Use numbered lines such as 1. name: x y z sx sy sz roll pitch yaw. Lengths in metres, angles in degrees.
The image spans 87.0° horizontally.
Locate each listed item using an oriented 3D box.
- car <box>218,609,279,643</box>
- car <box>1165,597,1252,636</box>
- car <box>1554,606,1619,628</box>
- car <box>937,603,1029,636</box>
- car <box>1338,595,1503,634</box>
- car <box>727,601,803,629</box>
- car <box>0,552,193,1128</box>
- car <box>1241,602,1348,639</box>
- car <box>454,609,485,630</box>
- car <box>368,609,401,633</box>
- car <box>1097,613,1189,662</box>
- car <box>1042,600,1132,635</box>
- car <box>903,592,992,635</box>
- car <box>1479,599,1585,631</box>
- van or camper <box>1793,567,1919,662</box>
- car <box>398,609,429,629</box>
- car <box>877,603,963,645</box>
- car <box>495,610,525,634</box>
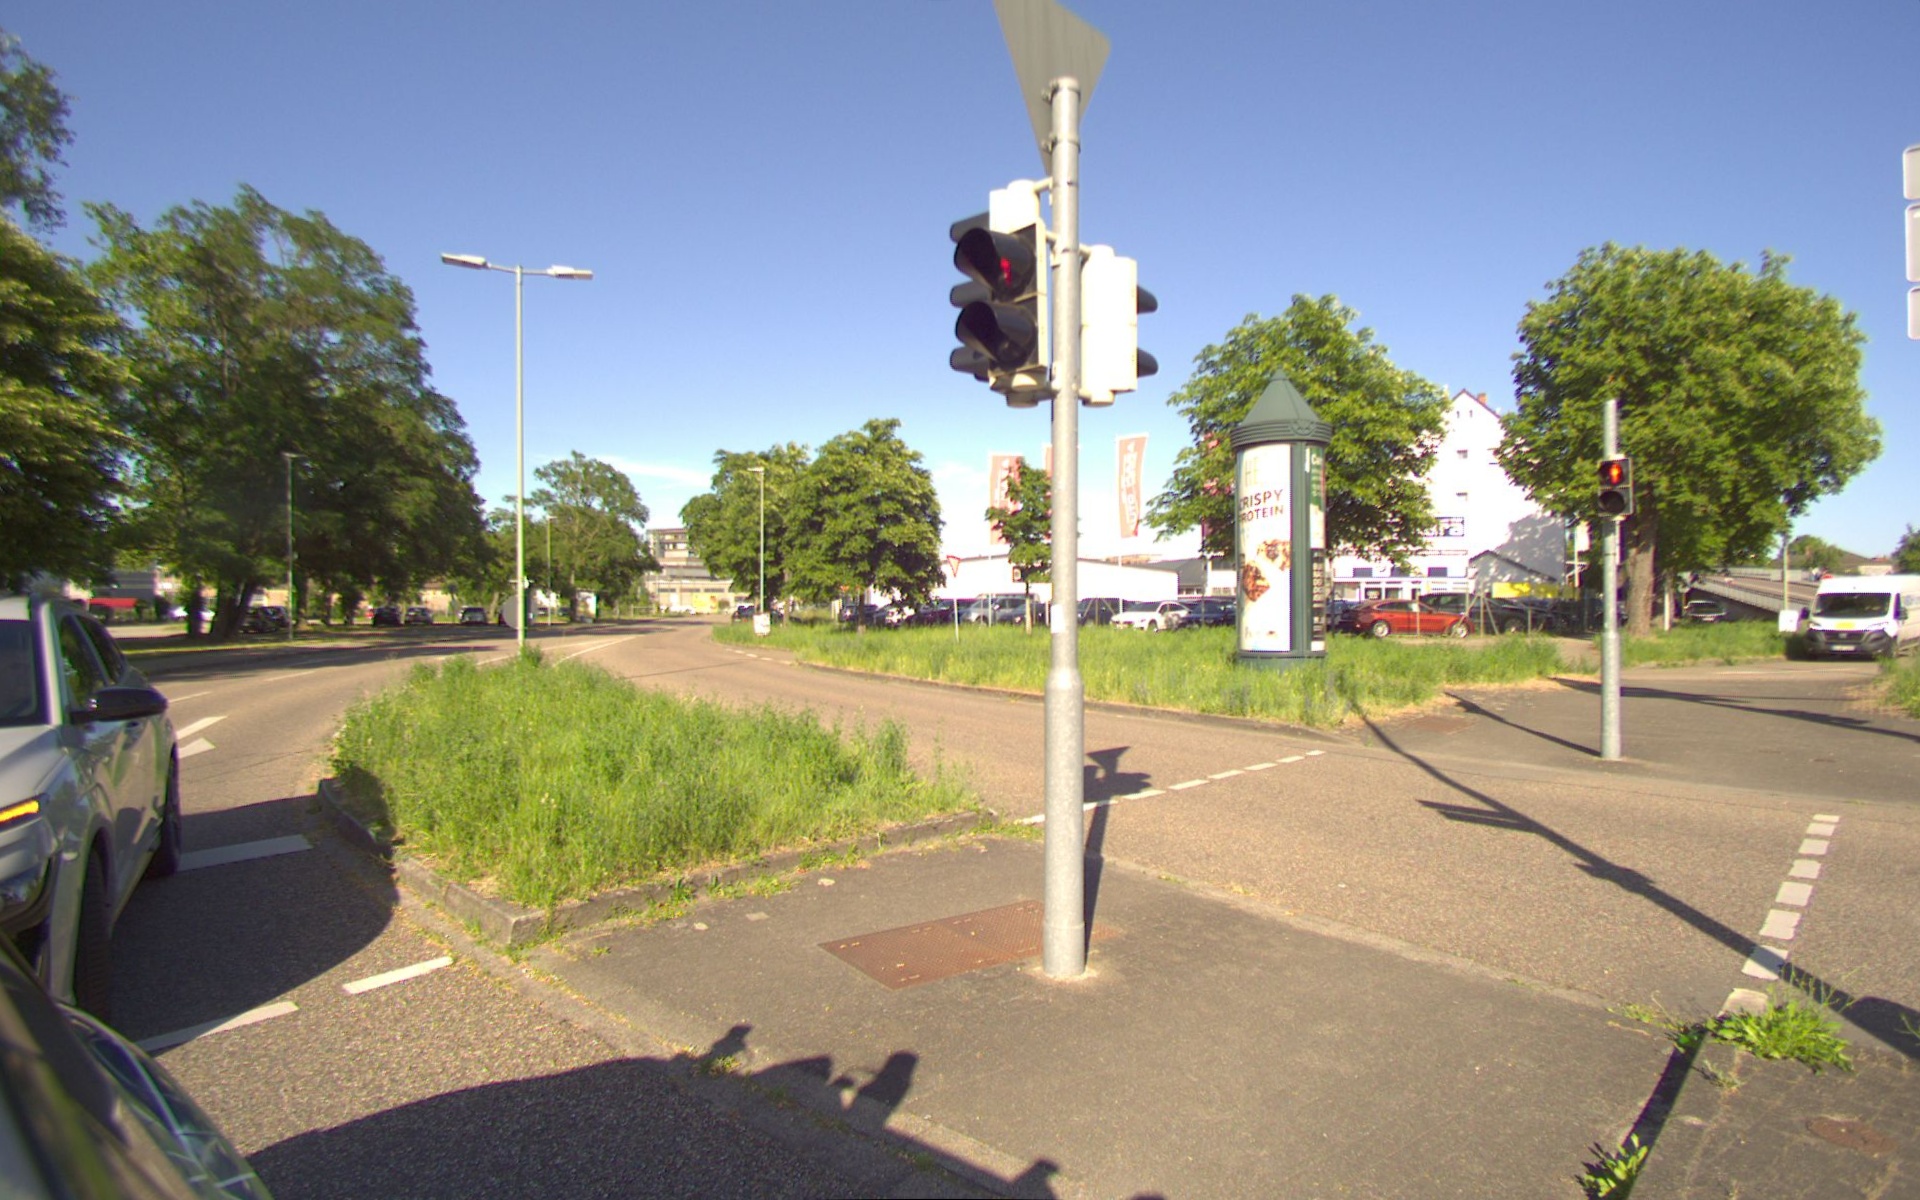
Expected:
1. car: -40.489 1.422 57.703 1.975 1.809 4.013 -1 0 -22
2. car: 10.030 0.651 40.726 1.744 1.473 3.945 -2 -1 41
3. car: 46.352 1.252 74.876 3.623 1.521 1.782 -1 0 5
4. car: 1.091 0.887 47.225 3.932 1.419 1.844 -1 0 -32
5. car: 16.850 0.528 37.288 4.995 1.320 2.358 -1 0 4
6. car: -11.185 0.830 58.038 3.930 1.541 1.935 0 -1 -23
7. car: -4.484 0.660 4.222 1.687 1.658 4.067 1 0 -32
8. car: 14.496 0.901 43.971 3.999 1.517 1.808 -2 -1 42
9. car: -36.358 1.447 75.088 1.965 1.461 4.013 2 -1 -25
10. car: -40.901 1.484 72.015 1.708 1.631 4.013 2 -1 -25
11. car: 7.663 1.511 42.131 1.999 1.901 3.945 -2 -1 41
12. car: 5.554 0.731 43.840 1.999 1.452 3.945 -2 -1 41
13. car: -0.606 0.649 49.831 3.934 2.029 2.005 0 -1 -36
14. car: 29.057 0.765 51.537 4.368 1.587 1.805 -1 0 16
15. van or camper: 27.251 0.459 30.907 2.604 2.602 6.522 -3 -2 41
16. car: -42.235 1.465 78.282 1.840 1.451 3.495 2 -1 -25
17. car: -2.043 1.207 52.081 3.935 2.029 2.004 -1 0 -37
18. car: -33.928 1.643 76.267 1.965 1.679 4.013 2 -1 -25
